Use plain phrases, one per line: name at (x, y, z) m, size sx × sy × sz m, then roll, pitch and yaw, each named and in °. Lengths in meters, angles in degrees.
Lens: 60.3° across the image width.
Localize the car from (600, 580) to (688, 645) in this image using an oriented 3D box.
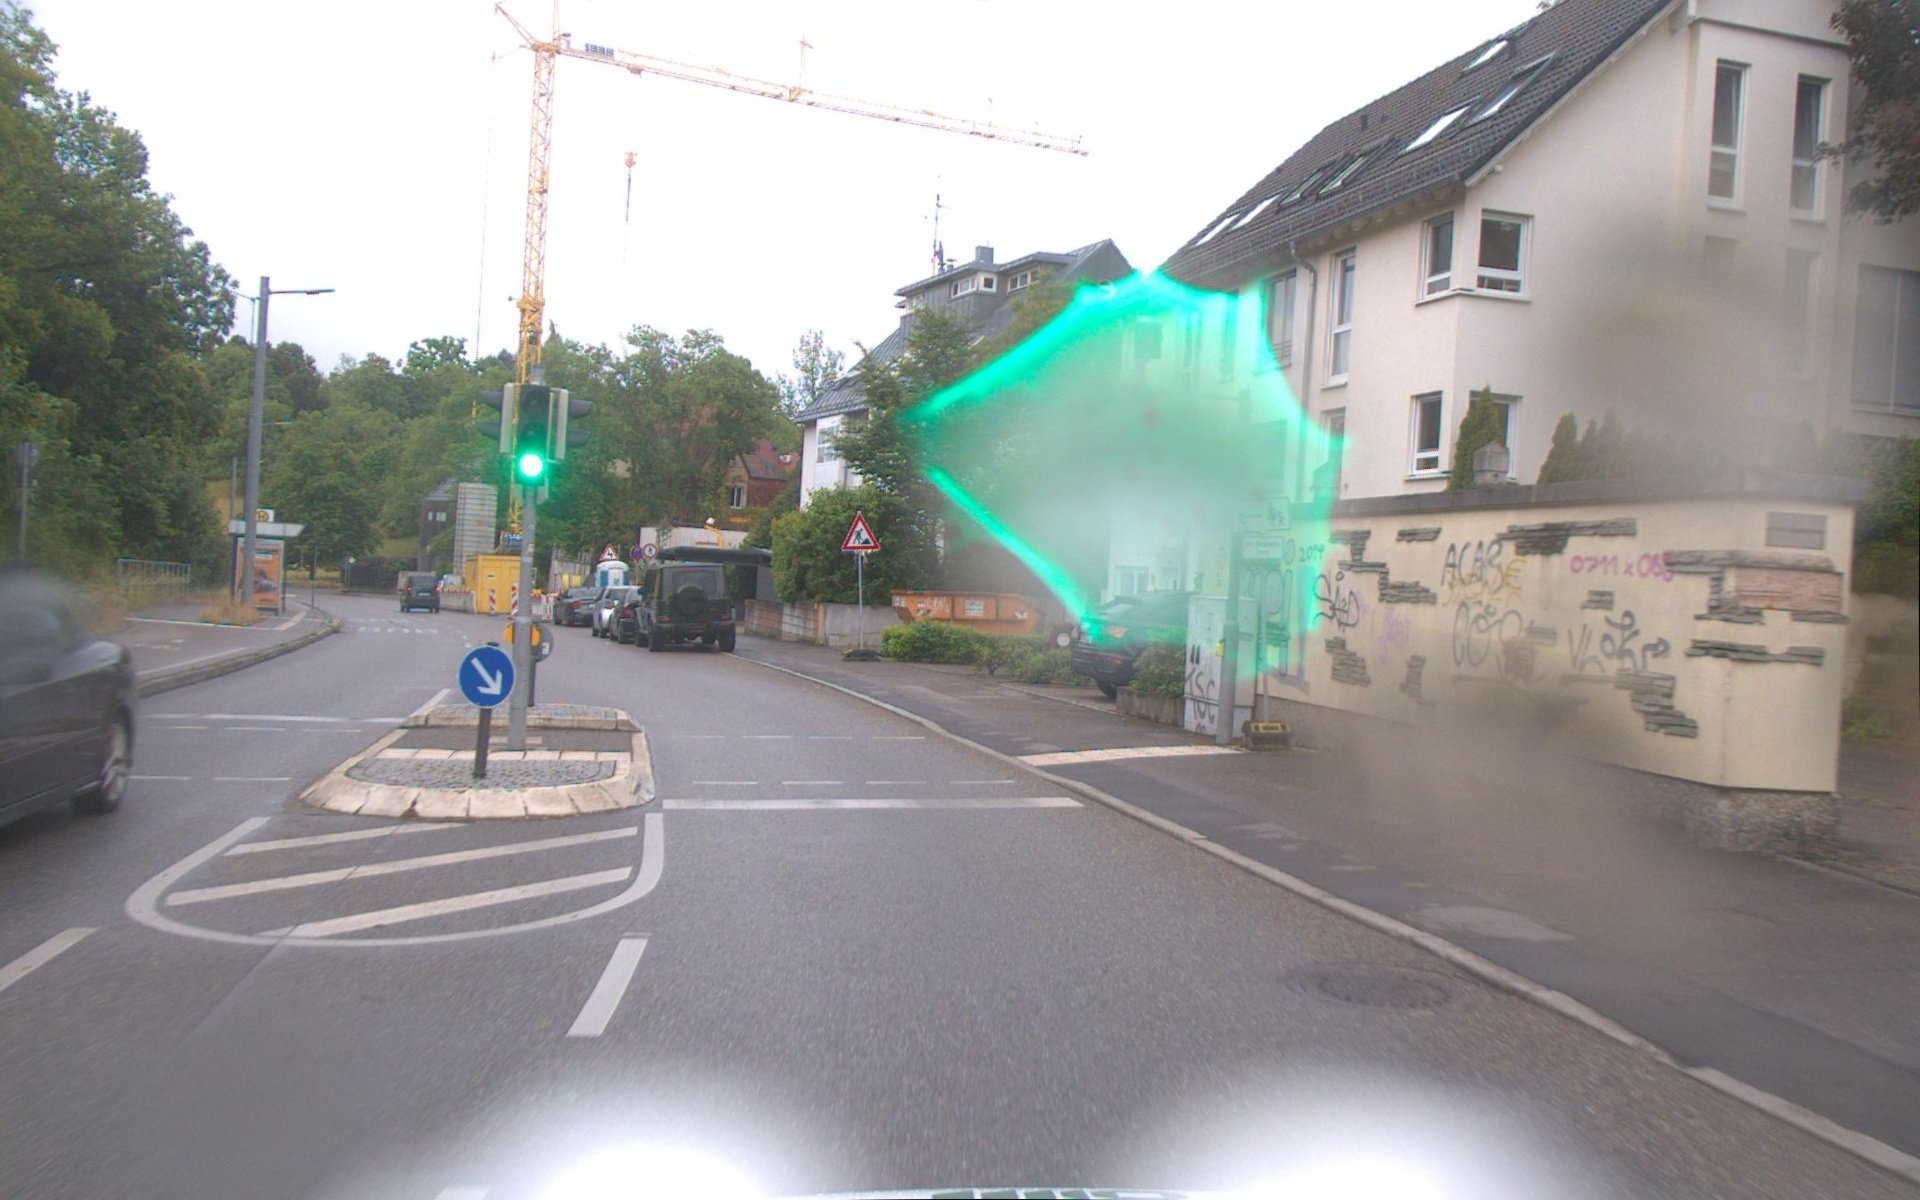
car at (-8.452, 0.308, 43.980) m, size 1.901 × 1.624 × 4.375 m, roll 0°, pitch 0°, yaw -16°

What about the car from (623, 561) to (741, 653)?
car at (-6.666, 0.138, 39.259) m, size 1.964 × 2.049 × 4.928 m, roll 0°, pitch 0°, yaw -19°

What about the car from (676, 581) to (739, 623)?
car at (-10.101, 0.071, 65.892) m, size 1.670 × 1.498 × 3.977 m, roll 5°, pitch -1°, yaw -19°

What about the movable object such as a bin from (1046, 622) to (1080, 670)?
movable object such as a bin at (2.140, 0.948, 34.394) m, size 0.499 × 0.957 × 0.592 m, roll 2°, pitch 0°, yaw -18°

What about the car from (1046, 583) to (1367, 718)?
car at (3.672, 0.749, 24.820) m, size 4.259 × 1.623 × 1.983 m, roll 5°, pitch -1°, yaw -17°

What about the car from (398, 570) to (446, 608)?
car at (-27.235, -0.574, 83.695) m, size 1.906 × 1.782 × 3.971 m, roll 2°, pitch 0°, yaw -23°

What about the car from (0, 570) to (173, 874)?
car at (-5.704, 0.573, 8.798) m, size 1.713 × 1.485 × 4.400 m, roll 2°, pitch 0°, yaw -12°

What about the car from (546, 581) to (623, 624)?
car at (-14.027, 0.067, 61.603) m, size 1.906 × 1.447 × 4.802 m, roll 2°, pitch 0°, yaw -23°

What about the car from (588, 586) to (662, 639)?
car at (-9.740, 0.341, 47.942) m, size 1.648 × 1.483 × 3.367 m, roll 1°, pitch 0°, yaw -19°
